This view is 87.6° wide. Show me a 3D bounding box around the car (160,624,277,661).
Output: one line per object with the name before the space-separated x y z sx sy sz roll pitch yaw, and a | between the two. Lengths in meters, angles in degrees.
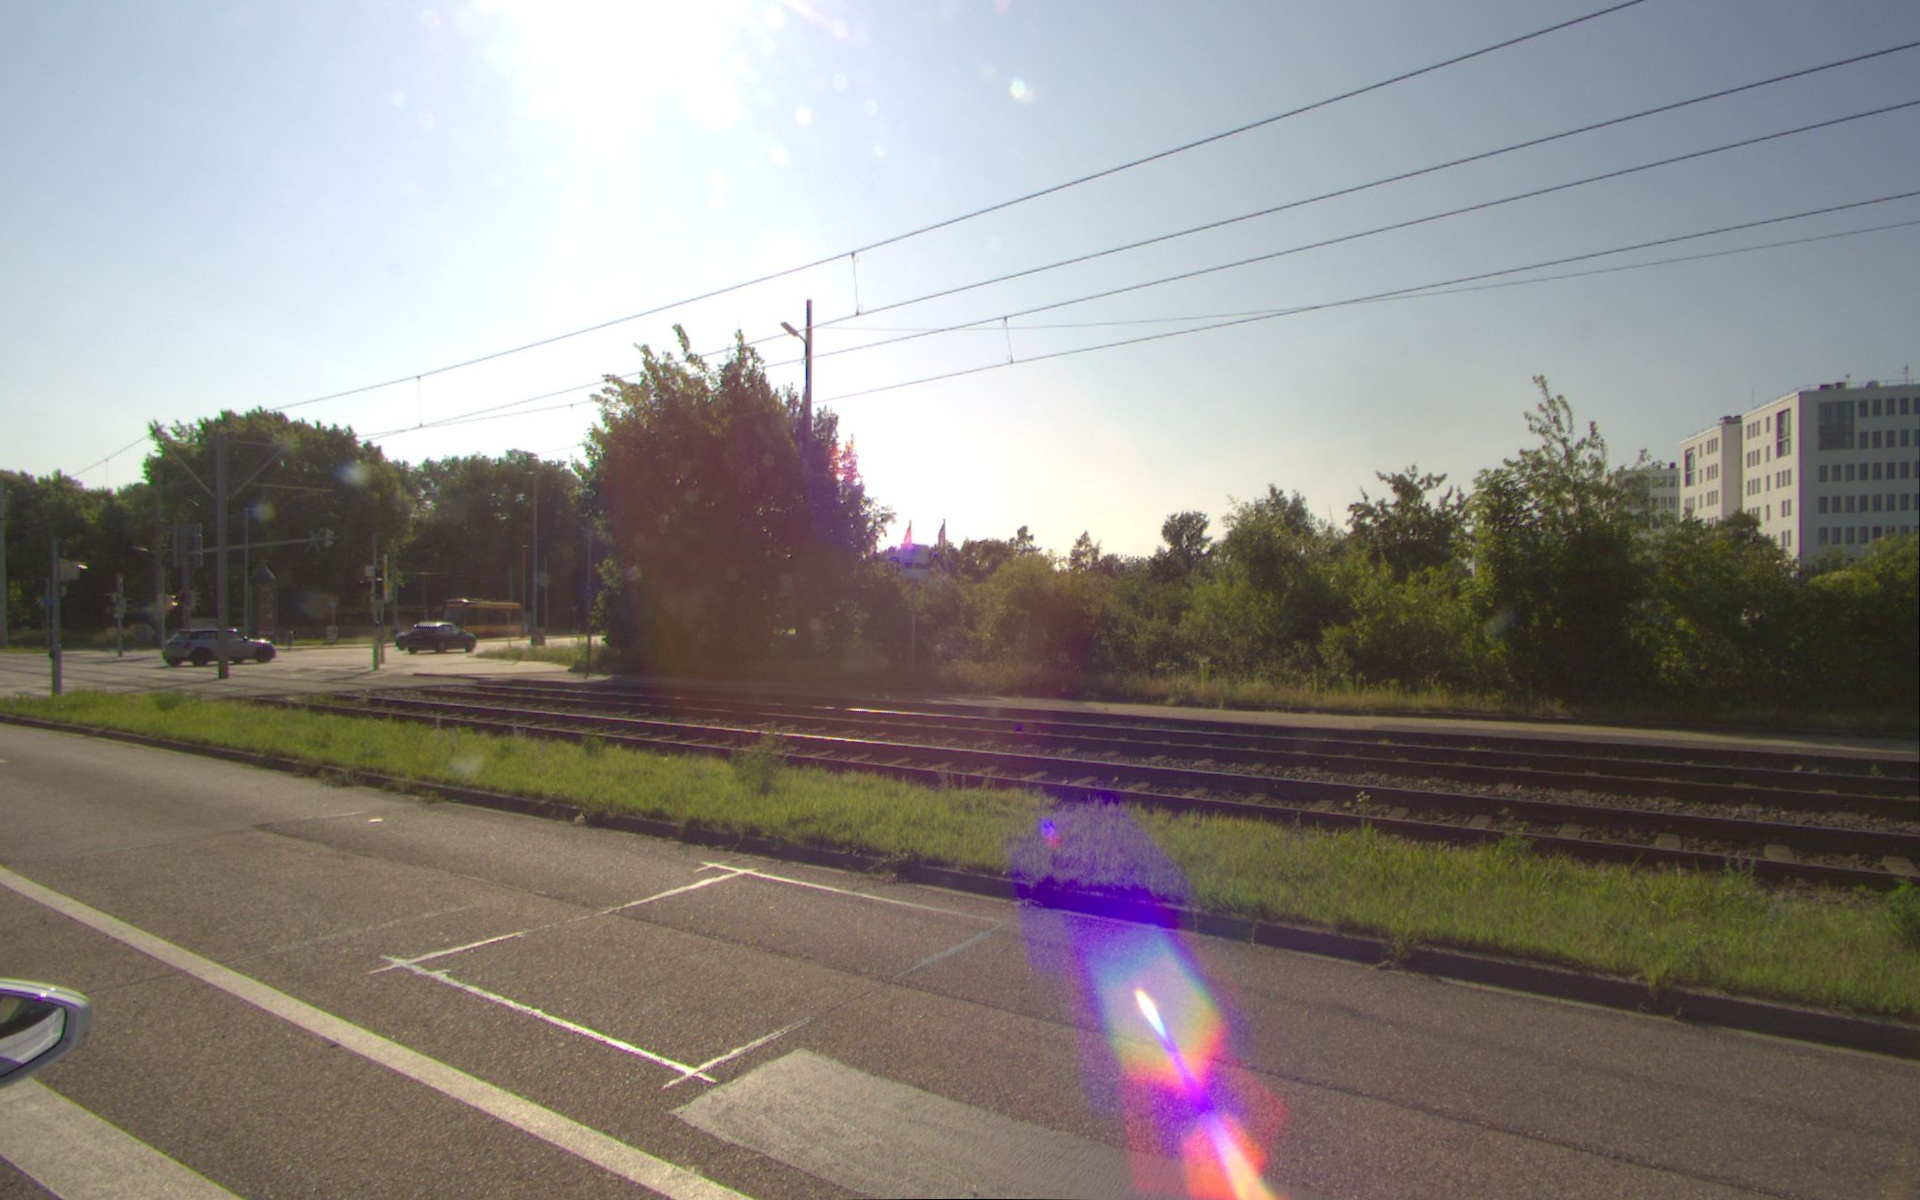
car | -29.909 1.678 40.486 1.578 1.401 3.523 0 -1 19

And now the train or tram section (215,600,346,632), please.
train or tram section | -78.200 1.865 115.599 12.027 3.626 3.045 0 -1 -22

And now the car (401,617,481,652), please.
car | -28.676 1.869 55.481 1.617 1.745 4.621 1 0 6

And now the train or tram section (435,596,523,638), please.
train or tram section | -44.533 1.577 93.252 2.995 3.626 11.853 0 -1 -3

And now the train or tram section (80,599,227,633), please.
train or tram section | -88.964 1.762 110.786 12.249 3.626 3.041 0 -1 -27

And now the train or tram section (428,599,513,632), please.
train or tram section | -55.543 1.751 113.423 12.061 3.626 3.037 -1 -1 34

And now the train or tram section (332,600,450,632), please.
train or tram section | -66.487 1.889 117.201 11.992 3.626 3.054 0 -1 -1

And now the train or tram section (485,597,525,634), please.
train or tram section | -47.636 1.632 104.591 3.009 3.626 12.174 0 -1 -28
